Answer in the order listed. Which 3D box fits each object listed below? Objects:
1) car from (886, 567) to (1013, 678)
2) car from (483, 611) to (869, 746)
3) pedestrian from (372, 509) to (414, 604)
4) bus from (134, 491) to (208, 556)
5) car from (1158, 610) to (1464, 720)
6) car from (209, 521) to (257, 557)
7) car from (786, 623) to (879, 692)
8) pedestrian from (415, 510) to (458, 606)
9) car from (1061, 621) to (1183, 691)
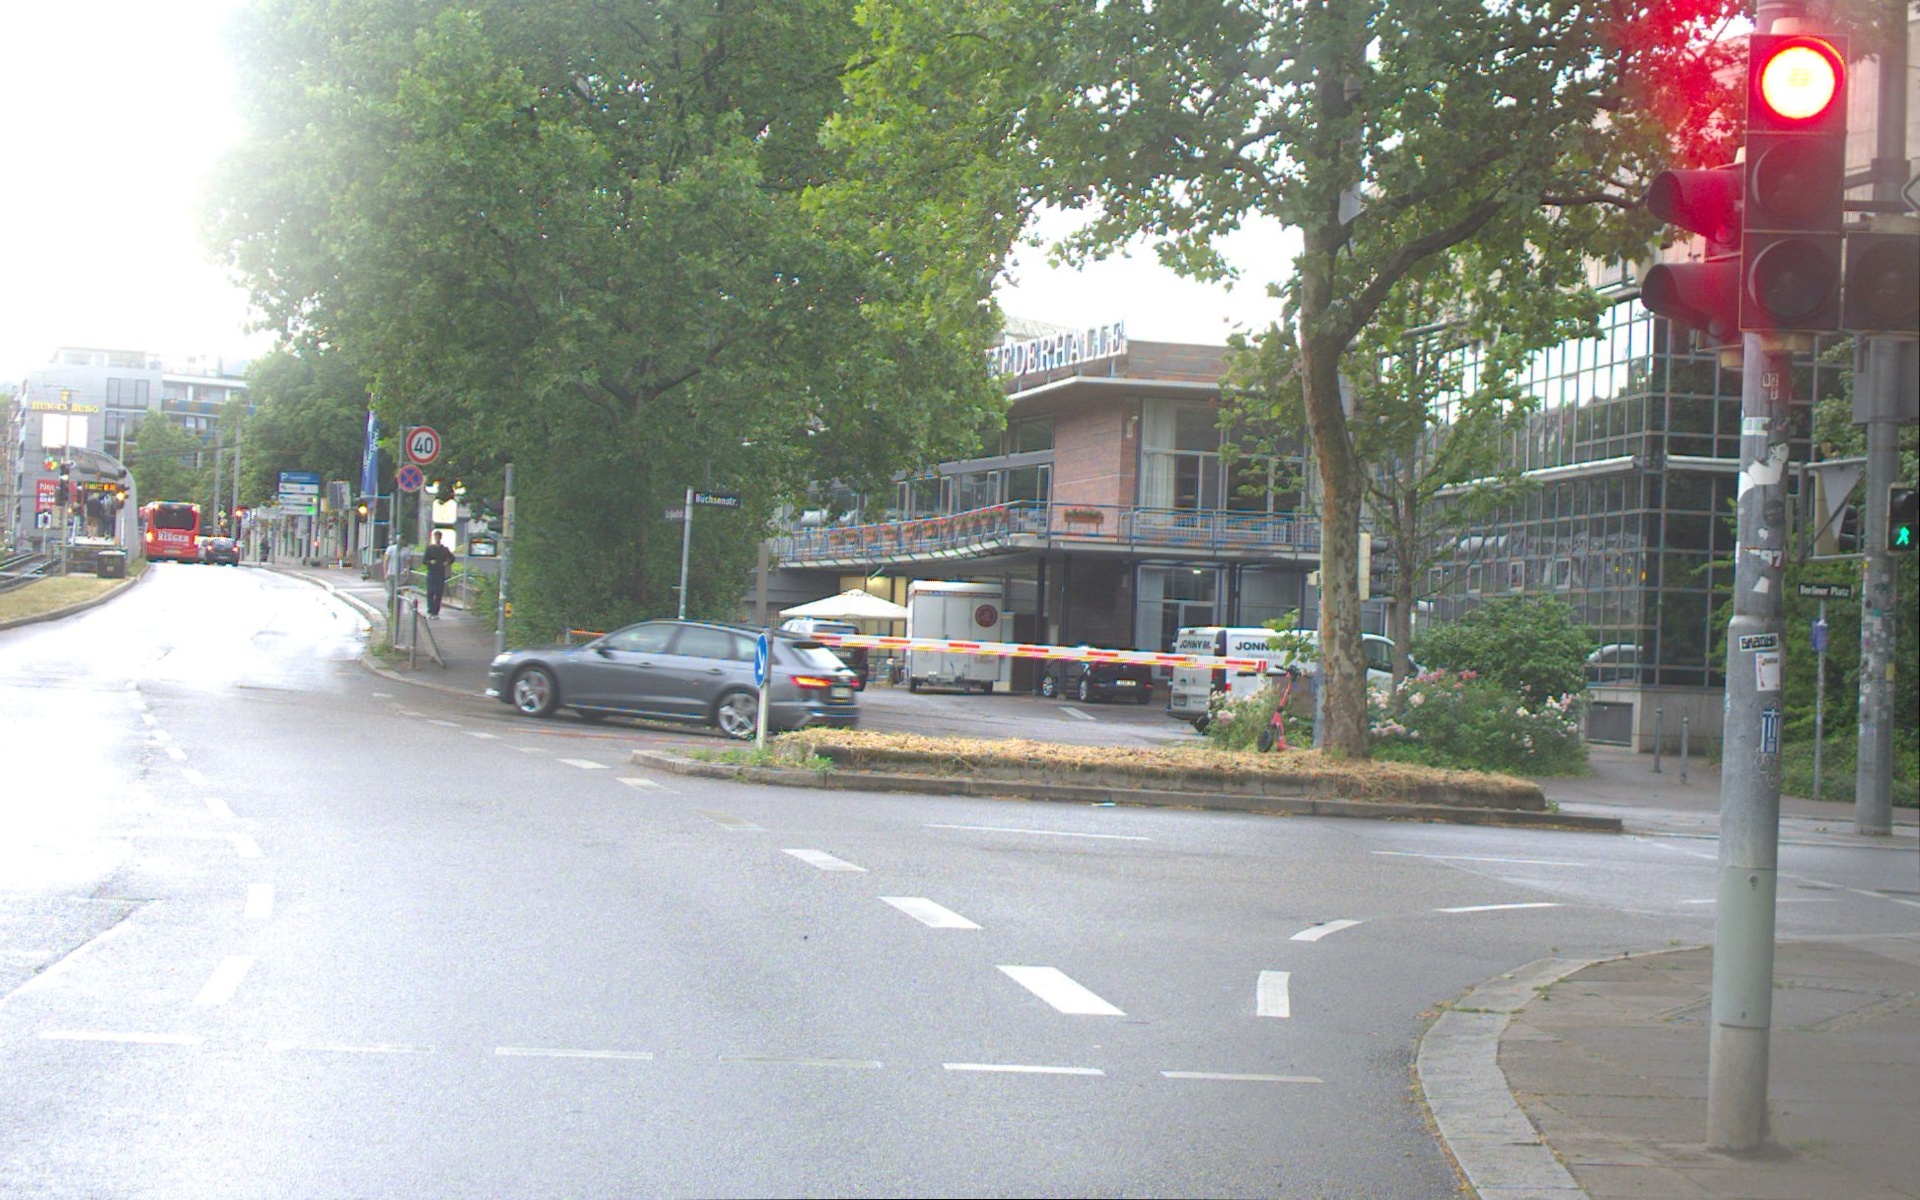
[{"bbox_3d":[-0.342,0.542,91.427,2.731,2.686,6.923,3,1,-5],"label":"car"},{"bbox_3d":[-3.521,0.945,42.779,4.340,1.514,1.998,1,1,19],"label":"car"},{"bbox_3d":[-12.075,-0.920,73.245,0.814,2.007,1.077,1,0,-8],"label":"pedestrian"},{"bbox_3d":[-40.491,-3.865,176.425,3.589,3.160,10.423,1,1,-13],"label":"bus"},{"bbox_3d":[6.363,1.178,62.214,5.198,1.725,1.875,3,1,-25],"label":"car"},{"bbox_3d":[-38.400,-3.211,181.407,2.362,1.810,5.185,1,1,-13],"label":"car"},{"bbox_3d":[-3.237,1.455,87.958,2.019,1.546,4.350,3,1,2],"label":"car"},{"bbox_3d":[-11.171,-0.893,73.359,0.874,2.007,1.077,1,0,-8],"label":"pedestrian"},{"bbox_3d":[4.172,1.435,89.203,2.019,1.546,4.351,3,1,-13],"label":"car"}]
